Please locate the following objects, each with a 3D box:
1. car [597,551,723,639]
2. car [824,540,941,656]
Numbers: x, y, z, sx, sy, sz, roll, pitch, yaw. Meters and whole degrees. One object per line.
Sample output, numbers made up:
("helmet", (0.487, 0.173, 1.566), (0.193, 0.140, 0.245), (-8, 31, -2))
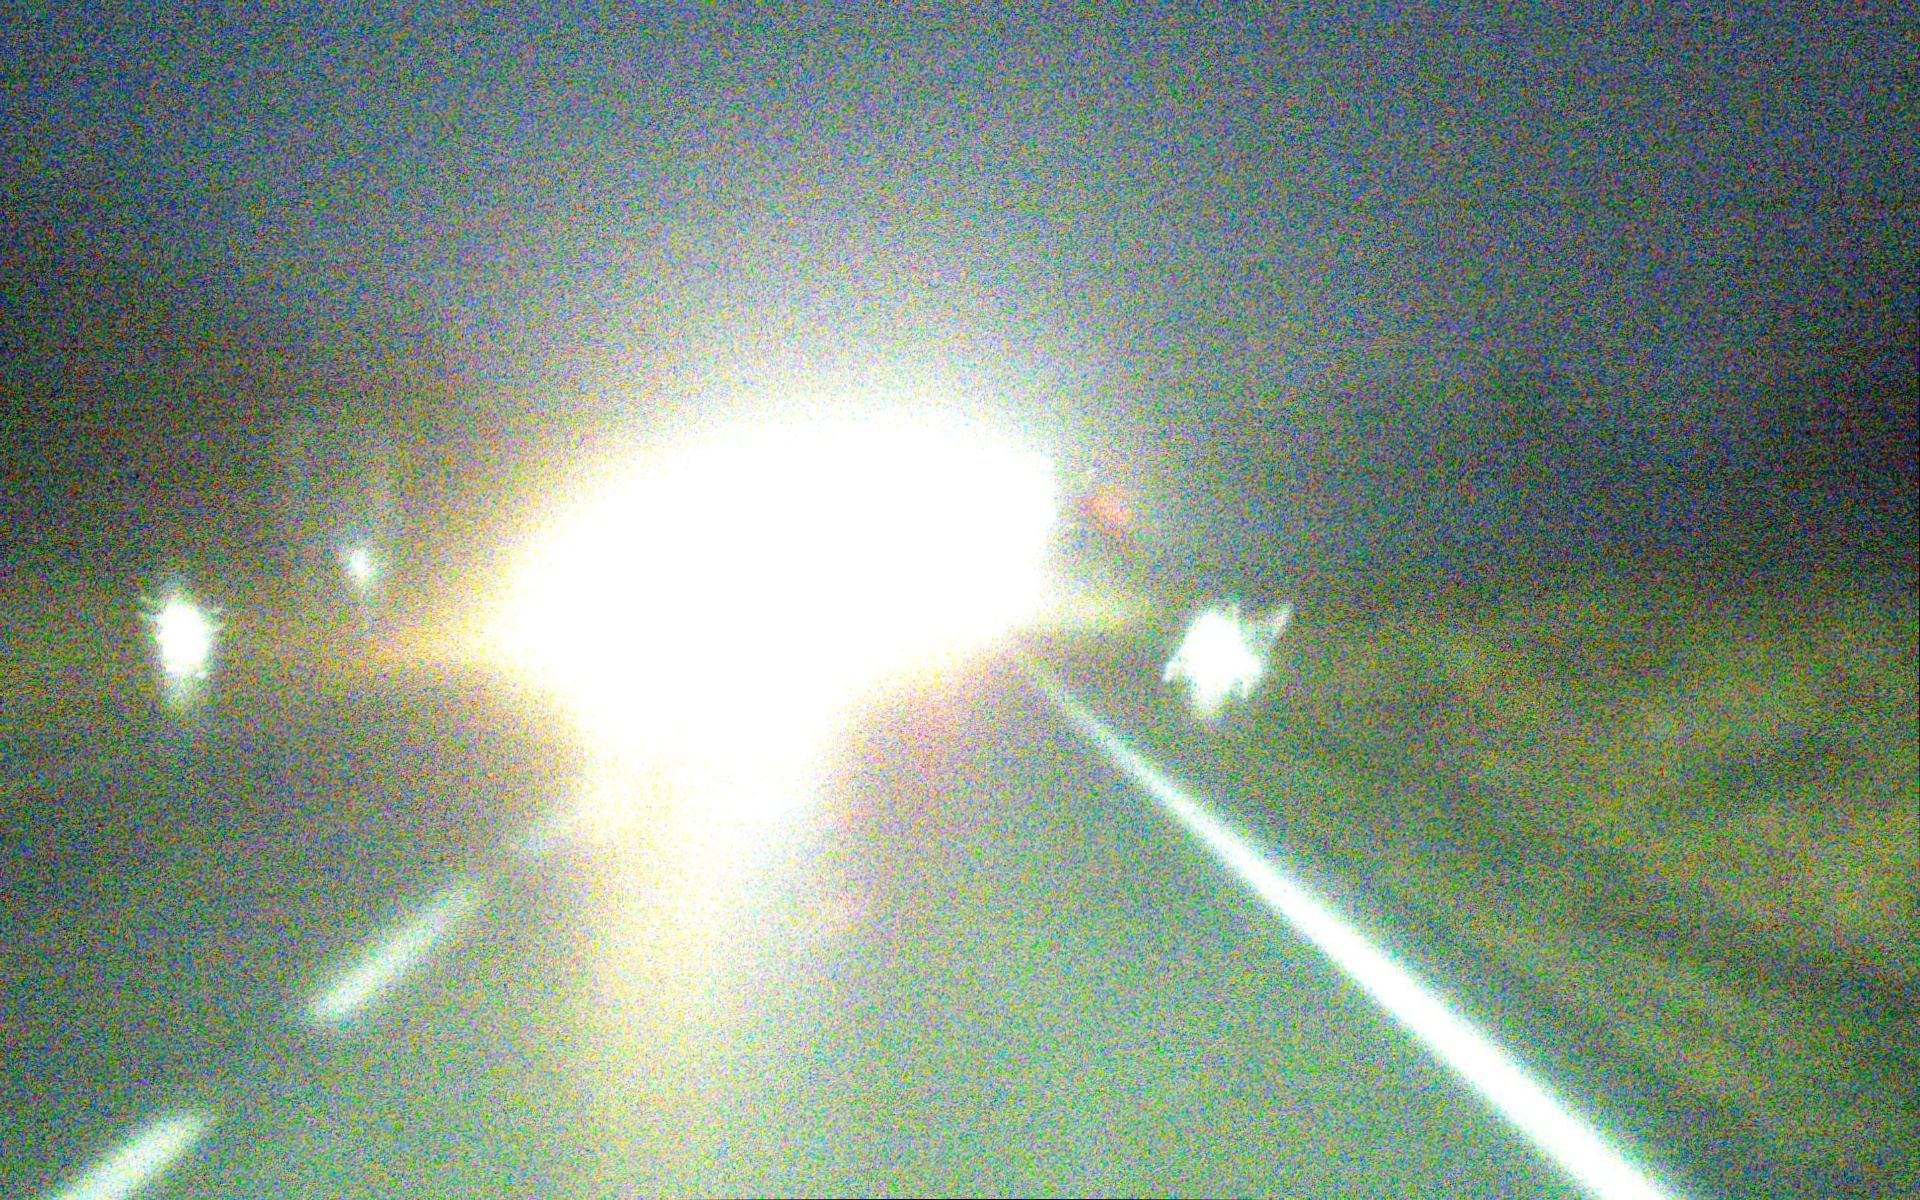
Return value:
("car", (-5.454, -0.111, 62.935), (1.993, 1.543, 4.000), (-1, 1, -1))
("car", (-1.320, -0.067, 57.884), (1.842, 1.734, 4.001), (2, 2, -2))
